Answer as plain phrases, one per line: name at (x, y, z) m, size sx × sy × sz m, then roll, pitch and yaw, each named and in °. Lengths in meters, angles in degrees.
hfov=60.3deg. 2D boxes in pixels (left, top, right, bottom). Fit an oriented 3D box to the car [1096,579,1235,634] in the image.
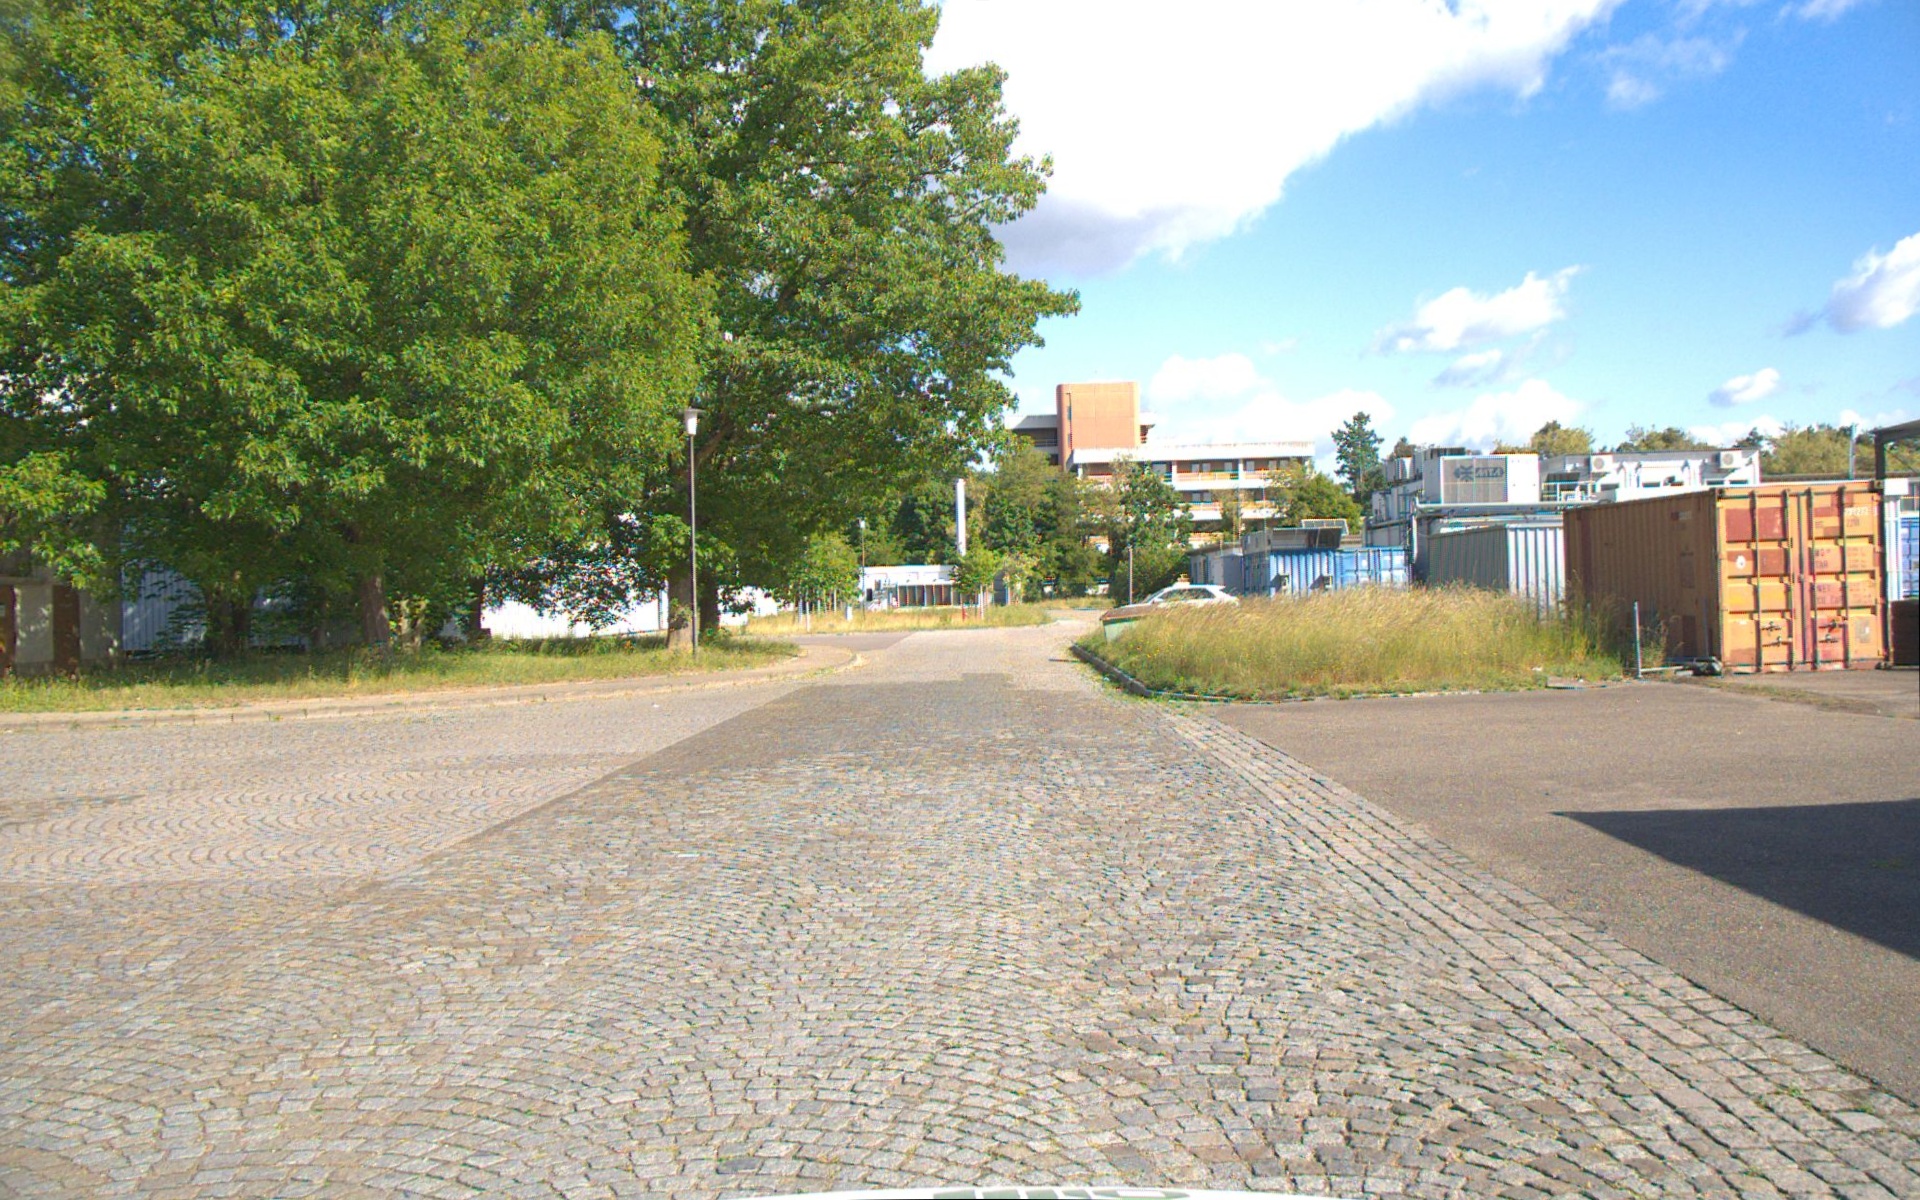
car at (6.983, 0.207, 56.619) m, size 4.493 × 1.707 × 1.875 m, roll -2°, pitch 0°, yaw 0°
